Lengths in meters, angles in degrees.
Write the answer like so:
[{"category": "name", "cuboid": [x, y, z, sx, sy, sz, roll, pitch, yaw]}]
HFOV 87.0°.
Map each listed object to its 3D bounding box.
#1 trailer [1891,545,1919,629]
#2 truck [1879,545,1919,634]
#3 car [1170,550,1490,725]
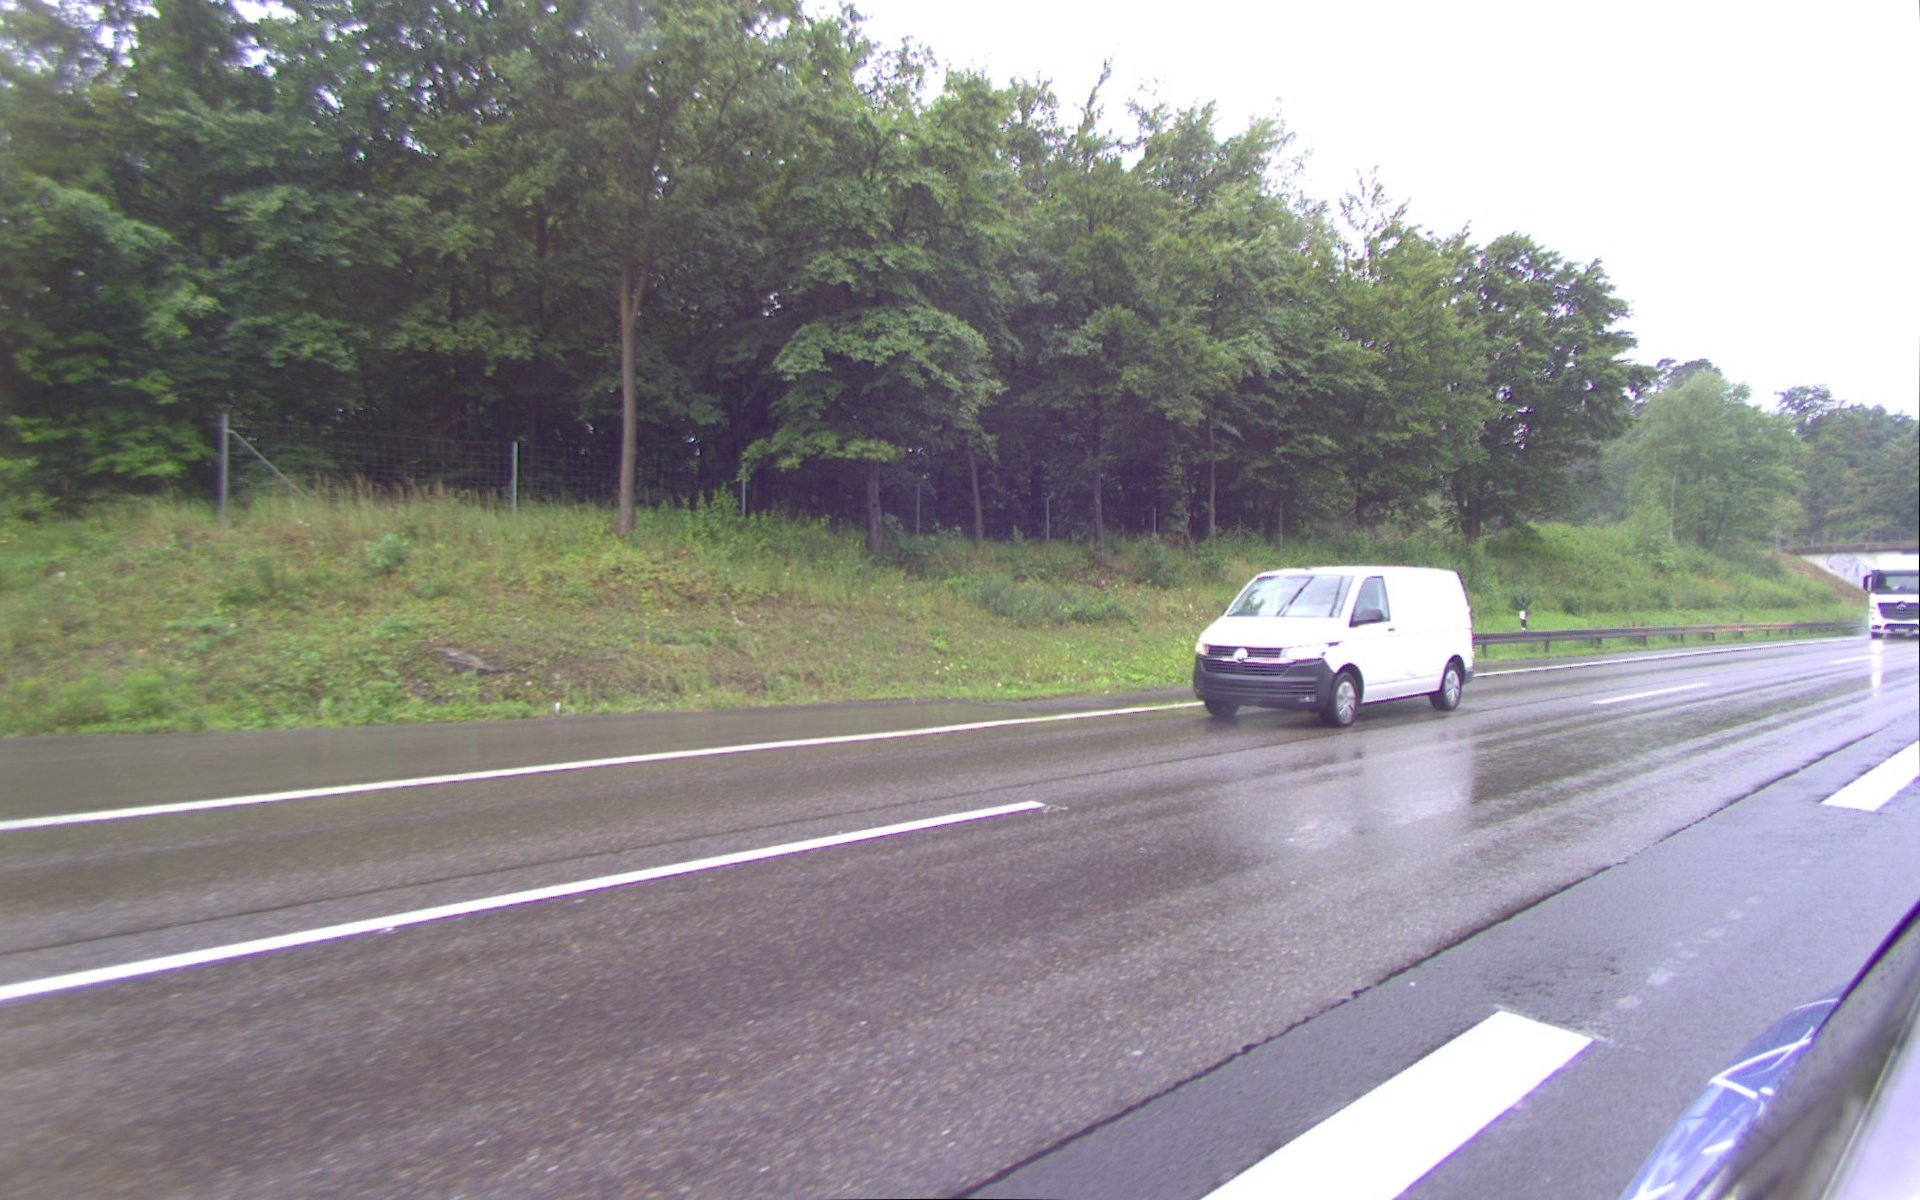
[{"category": "trailer", "cuboid": [51.644, -0.654, 52.802, 13.466, 4.065, 2.559, 0, 0, -39]}, {"category": "truck", "cuboid": [46.578, -0.498, 48.645, 5.904, 4.065, 2.607, 0, -1, -39]}, {"category": "car", "cuboid": [5.071, 0.422, 13.534, 4.683, 1.945, 1.993, 0, 0, -40]}]
